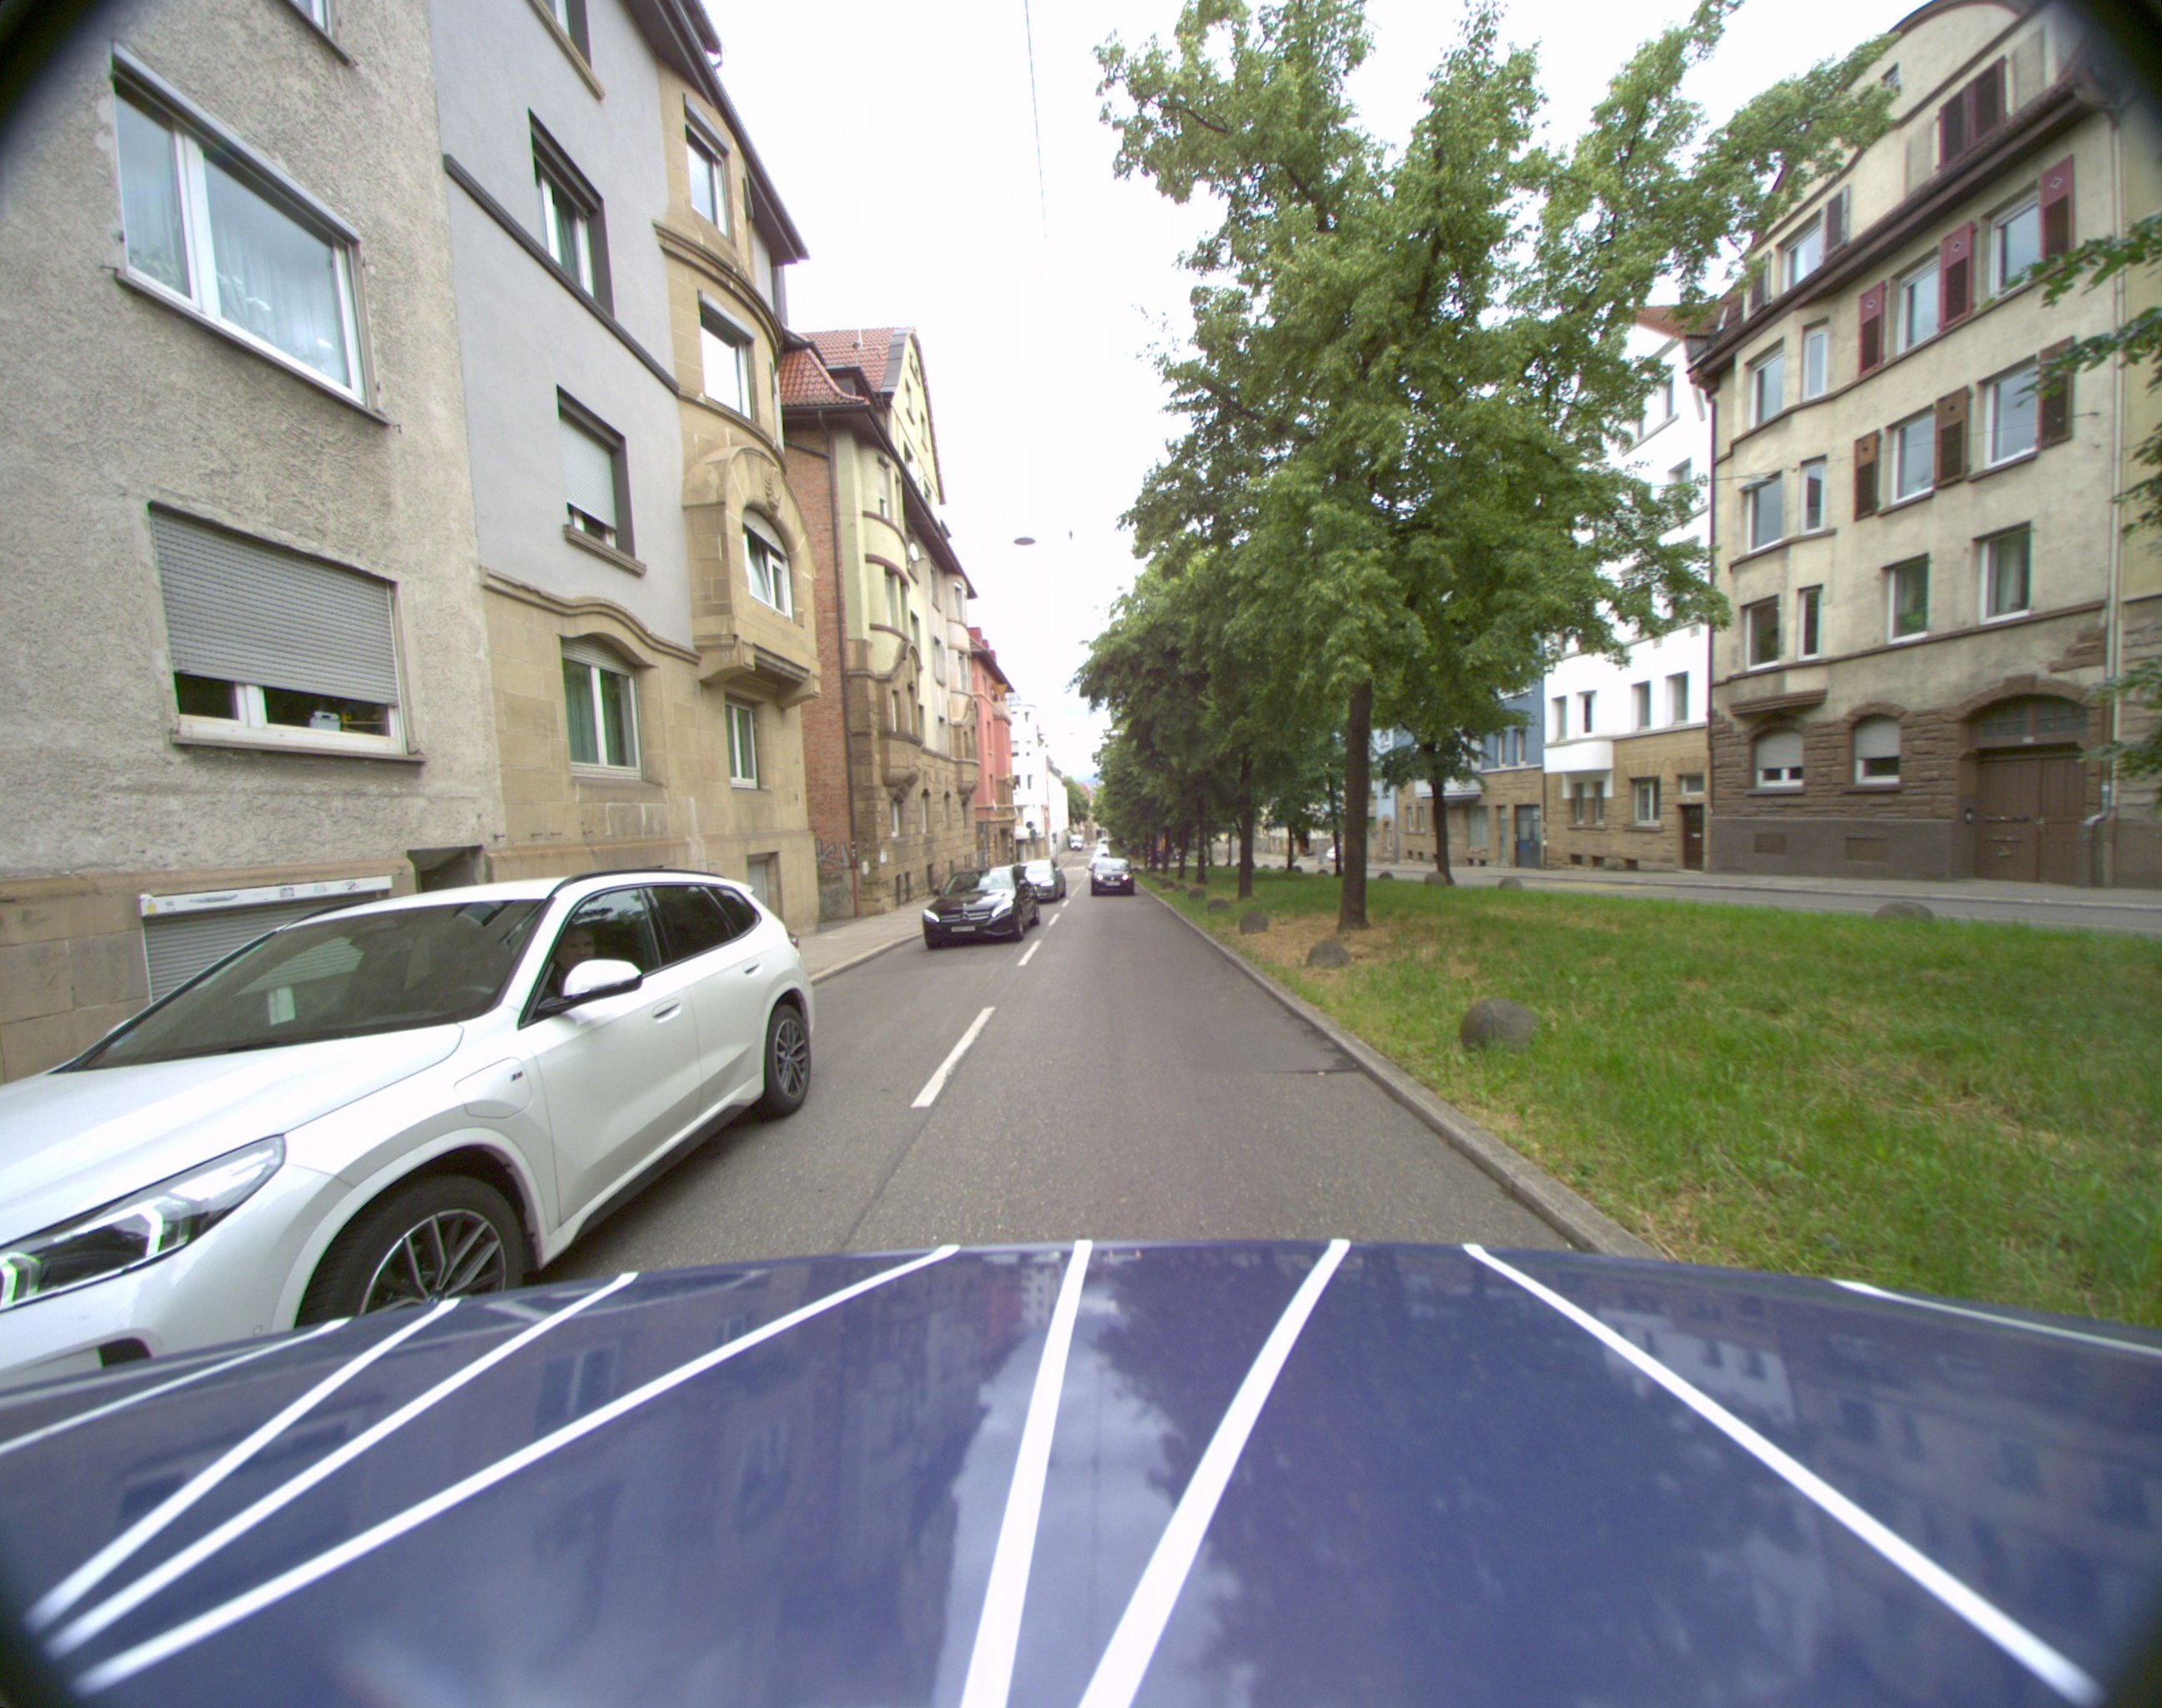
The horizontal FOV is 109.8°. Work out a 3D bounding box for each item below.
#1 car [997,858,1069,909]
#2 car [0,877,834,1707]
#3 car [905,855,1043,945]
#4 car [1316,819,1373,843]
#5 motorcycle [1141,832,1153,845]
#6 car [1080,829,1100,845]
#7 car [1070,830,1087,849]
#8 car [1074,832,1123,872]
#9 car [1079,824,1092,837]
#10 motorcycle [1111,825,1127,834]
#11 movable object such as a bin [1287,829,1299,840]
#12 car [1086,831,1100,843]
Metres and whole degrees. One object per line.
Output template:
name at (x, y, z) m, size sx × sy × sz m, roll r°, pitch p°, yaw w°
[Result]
car at (-1.577, 0.960, 26.509) m, size 1.854 × 1.361 × 4.281 m, roll -6°, pitch 0°, yaw 4°
car at (-2.827, 1.066, 3.323) m, size 1.854 × 1.595 × 4.562 m, roll -5°, pitch 0°, yaw 0°
car at (-1.992, 0.823, 15.544) m, size 1.854 × 1.361 × 4.281 m, roll -6°, pitch 0°, yaw 4°
car at (21.845, -1.915, 63.128) m, size 4.007 × 1.462 × 1.870 m, roll -7°, pitch 4°, yaw -1°
motorcycle at (6.165, -1.466, 70.658) m, size 0.888 × 1.090 × 2.481 m, roll -2°, pitch 4°, yaw 9°
car at (0.912, -1.576, 71.304) m, size 1.783 × 1.420 × 4.281 m, roll -1°, pitch 1°, yaw 2°
car at (-0.415, -2.698, 138.313) m, size 3.026 × 3.045 × 7.165 m, roll -2°, pitch 3°, yaw 0°
car at (0.708, -0.091, 29.791) m, size 1.783 × 1.420 × 4.281 m, roll -1°, pitch 1°, yaw 2°
car at (1.107, -5.691, 184.802) m, size 3.026 × 3.045 × 7.165 m, roll -2°, pitch 3°, yaw 0°
motorcycle at (4.914, -3.187, 98.443) m, size 2.040 × 1.126 × 0.454 m, roll -3°, pitch 5°, yaw 2°
movable object such as a bin at (19.739, -1.824, 70.842) m, size 0.888 × 0.988 × 0.668 m, roll -5°, pitch 2°, yaw 0°
car at (1.594, -2.234, 100.587) m, size 1.783 × 1.420 × 4.281 m, roll -1°, pitch 1°, yaw 2°
